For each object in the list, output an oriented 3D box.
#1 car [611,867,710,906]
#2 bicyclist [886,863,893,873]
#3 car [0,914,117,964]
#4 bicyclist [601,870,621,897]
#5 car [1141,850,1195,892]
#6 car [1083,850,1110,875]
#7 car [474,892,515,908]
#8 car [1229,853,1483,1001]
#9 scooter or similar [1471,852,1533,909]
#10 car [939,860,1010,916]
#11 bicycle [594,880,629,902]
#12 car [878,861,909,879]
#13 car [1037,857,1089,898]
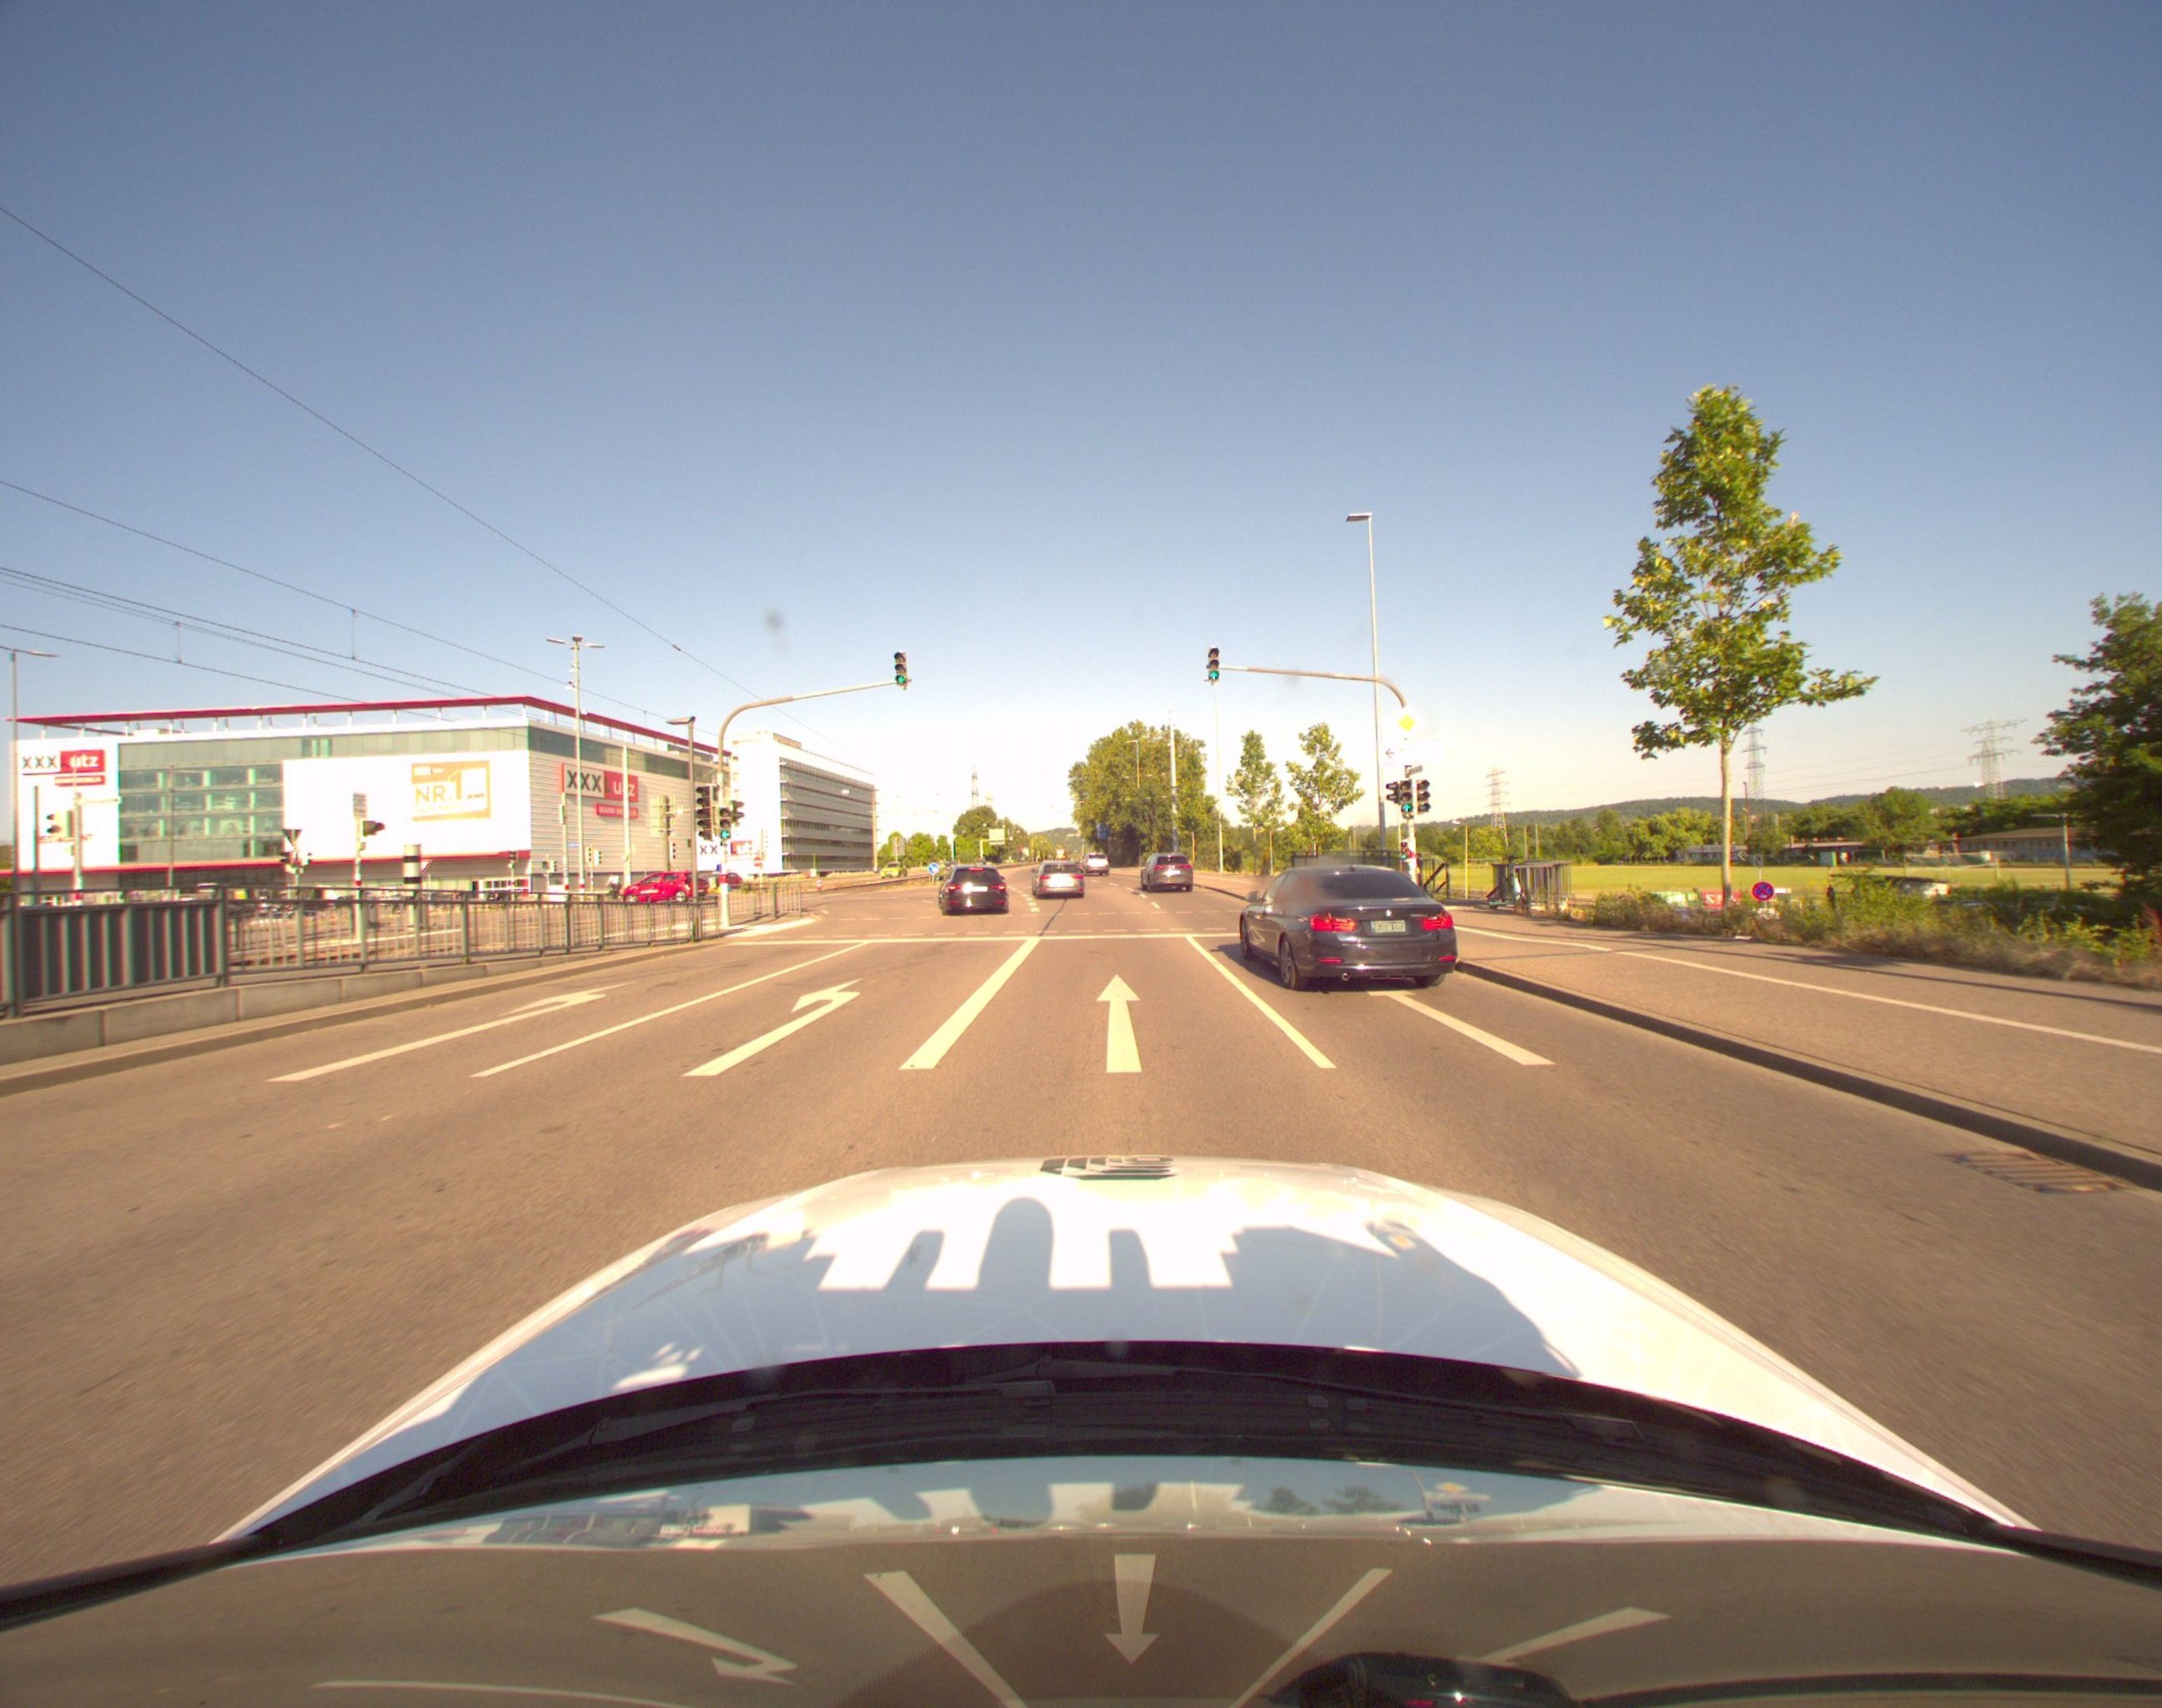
[{"bbox_3d":[-19.526,1.492,37.945,3.563,1.460,1.771,-5,-1,-1],"label":"car"},{"bbox_3d":[-29.698,2.166,126.174,0.701,1.512,0.972,0,0,8],"label":"bicyclist"},{"bbox_3d":[-39.004,3.214,30.084,4.232,1.498,2.015,-5,-1,-1],"label":"car"},{"bbox_3d":[-26.254,1.638,45.494,0.584,1.522,0.753,0,0,7],"label":"bicyclist"},{"bbox_3d":[3.639,0.671,34.762,1.838,1.661,4.440,-1,0,1],"label":"car"},{"bbox_3d":[1.125,0.569,60.259,1.877,1.795,4.000,0,0,0],"label":"car"},{"bbox_3d":[-73.417,5.796,102.047,1.914,1.702,4.448,0,0,0],"label":"car"},{"bbox_3d":[3.245,0.755,10.662,1.859,1.467,4.588,-2,0,2],"label":"car"},{"bbox_3d":[9.427,0.581,18.267,0.524,1.231,1.261,-2,0,-12],"label":"scooter or similar"},{"bbox_3d":[-3.223,0.950,24.453,1.914,1.458,4.079,-1,0,-8],"label":"car"},{"bbox_3d":[-26.246,2.047,45.547,0.584,1.168,1.996,0,0,8],"label":"bicycle"},{"bbox_3d":[-17.813,1.502,77.607,1.777,1.447,4.110,-3,0,2],"label":"car"},{"bbox_3d":[-0.762,0.866,32.082,1.861,1.467,4.661,0,0,-3],"label":"car"}]
